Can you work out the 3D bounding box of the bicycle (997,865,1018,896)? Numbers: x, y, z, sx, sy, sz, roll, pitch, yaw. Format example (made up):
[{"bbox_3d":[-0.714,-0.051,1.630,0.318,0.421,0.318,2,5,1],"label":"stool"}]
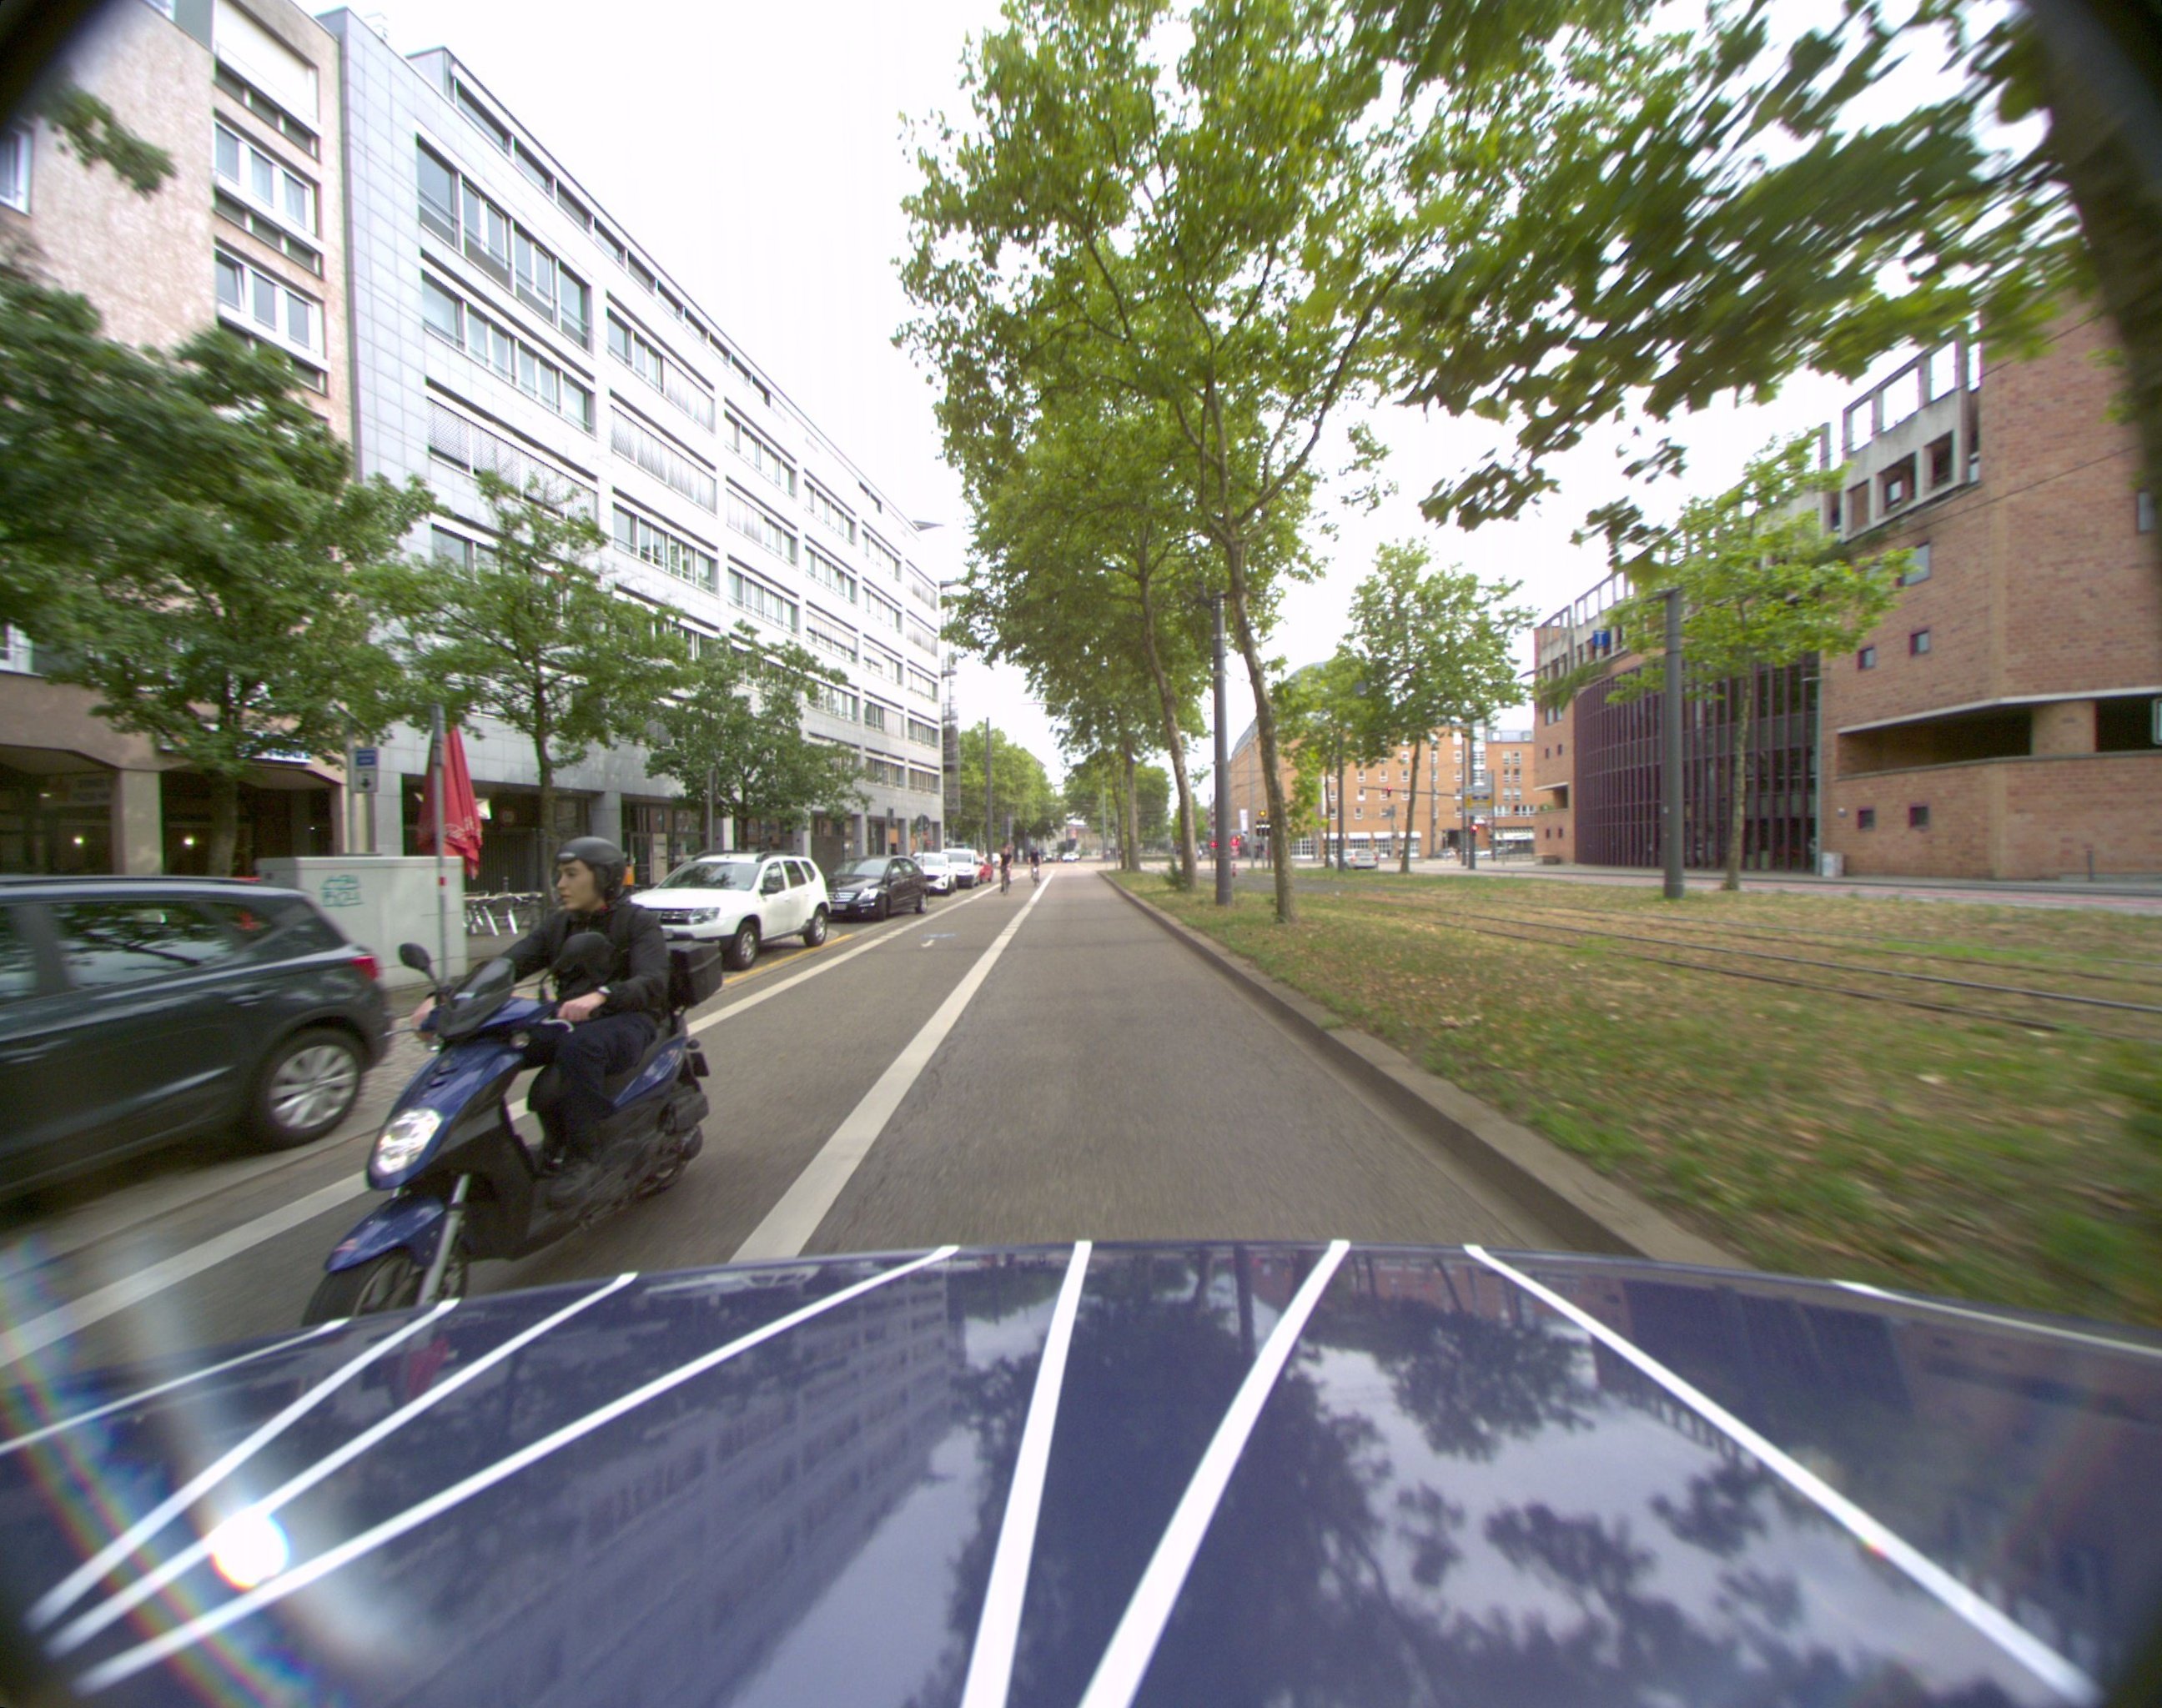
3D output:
[{"bbox_3d":[-2.837,0.999,29.603,0.595,1.132,2.091,0,0,0],"label":"bicycle"}]

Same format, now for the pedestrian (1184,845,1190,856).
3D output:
[{"bbox_3d":[16.056,-0.539,115.185,0.684,1.696,0.534,-1,2,-9],"label":"pedestrian"}]

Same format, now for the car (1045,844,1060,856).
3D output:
[{"bbox_3d":[-4.966,-0.743,132.728,1.998,2.002,5.438,0,0,5],"label":"car"}]

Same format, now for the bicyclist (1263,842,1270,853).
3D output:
[{"bbox_3d":[27.238,-0.959,111.483,0.864,1.493,0.637,0,2,10],"label":"bicyclist"}]

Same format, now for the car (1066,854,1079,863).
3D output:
[{"bbox_3d":[-1.358,0.757,124.544,1.845,1.369,3.835,-1,-1,4],"label":"car"}]

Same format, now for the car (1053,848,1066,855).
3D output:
[{"bbox_3d":[-4.162,-0.409,146.340,1.997,1.270,4.001,-1,1,7],"label":"car"}]

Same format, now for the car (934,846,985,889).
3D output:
[{"bbox_3d":[-5.627,0.569,35.614,1.832,1.853,4.646,1,0,-3],"label":"car"}]

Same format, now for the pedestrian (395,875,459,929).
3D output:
[{"bbox_3d":[-14.593,1.055,16.962,0.822,1.150,0.699,-1,1,11],"label":"pedestrian"}]

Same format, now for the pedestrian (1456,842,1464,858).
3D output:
[{"bbox_3d":[41.121,-0.473,82.390,0.540,1.722,0.543,-1,1,-2],"label":"pedestrian"}]

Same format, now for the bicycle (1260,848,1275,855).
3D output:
[{"bbox_3d":[27.333,-0.416,111.482,2.057,1.002,0.640,0,1,11],"label":"bicycle"}]

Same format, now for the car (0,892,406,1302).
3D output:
[{"bbox_3d":[-5.135,1.014,2.740,1.719,1.510,4.203,1,0,-1],"label":"car"}]

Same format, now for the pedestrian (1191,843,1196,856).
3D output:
[{"bbox_3d":[16.723,-0.681,112.761,0.693,1.941,0.534,-1,2,-2],"label":"pedestrian"}]

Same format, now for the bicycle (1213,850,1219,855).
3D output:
[{"bbox_3d":[25.793,-0.343,145.143,0.659,0.931,1.892,-1,1,-5],"label":"bicycle"}]

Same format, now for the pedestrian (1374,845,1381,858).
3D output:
[{"bbox_3d":[41.326,-0.323,105.904,0.578,1.722,0.750,-1,2,-7],"label":"pedestrian"}]

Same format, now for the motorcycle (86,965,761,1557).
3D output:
[{"bbox_3d":[-2.086,1.173,2.993,0.769,1.101,2.207,-1,1,-2],"label":"motorcycle"}]

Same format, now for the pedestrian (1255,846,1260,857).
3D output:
[{"bbox_3d":[26.262,-0.359,112.938,0.563,1.696,0.534,-1,2,0],"label":"pedestrian"}]

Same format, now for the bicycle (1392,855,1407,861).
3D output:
[{"bbox_3d":[44.314,0.520,105.786,1.796,0.777,0.640,-1,1,-3],"label":"bicycle"}]

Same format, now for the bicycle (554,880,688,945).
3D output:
[{"bbox_3d":[-8.314,1.046,13.786,2.040,1.118,0.596,0,1,-1],"label":"bicycle"}]

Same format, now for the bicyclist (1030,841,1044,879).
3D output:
[{"bbox_3d":[-2.067,0.294,36.017,0.591,1.760,1.035,0,1,0],"label":"bicyclist"}]

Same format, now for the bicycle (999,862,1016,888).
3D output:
[{"bbox_3d":[-3.373,0.965,35.082,0.595,1.132,1.734,0,0,0],"label":"bicycle"}]

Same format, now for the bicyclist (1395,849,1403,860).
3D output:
[{"bbox_3d":[44.295,0.097,105.785,0.865,1.493,0.636,-1,2,-3],"label":"bicyclist"}]

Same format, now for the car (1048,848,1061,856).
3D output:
[{"bbox_3d":[-4.777,-0.369,139.347,1.915,1.533,4.093,0,0,5],"label":"car"}]

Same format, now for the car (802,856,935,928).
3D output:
[{"bbox_3d":[-5.250,0.859,19.402,1.778,1.567,4.306,1,0,6],"label":"car"}]

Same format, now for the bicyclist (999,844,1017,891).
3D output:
[{"bbox_3d":[-2.840,0.515,29.532,0.591,1.758,1.035,0,1,0],"label":"bicyclist"}]

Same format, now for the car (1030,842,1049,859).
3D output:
[{"bbox_3d":[-6.347,-0.597,118.111,2.174,2.441,6.998,-1,1,3],"label":"car"}]

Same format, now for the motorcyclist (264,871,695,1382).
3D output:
[{"bbox_3d":[-2.076,0.843,2.820,0.761,1.510,1.017,-1,1,-2],"label":"motorcyclist"}]

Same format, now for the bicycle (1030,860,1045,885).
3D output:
[{"bbox_3d":[-2.069,0.871,36.044,0.595,1.132,1.858,0,0,0],"label":"bicycle"}]

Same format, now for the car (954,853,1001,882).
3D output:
[{"bbox_3d":[-5.589,0.688,41.451,1.726,1.424,4.254,2,0,4],"label":"car"}]

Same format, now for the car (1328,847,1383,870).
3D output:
[{"bbox_3d":[17.815,0.293,49.517,1.788,1.413,4.657,-1,0,-2],"label":"car"}]

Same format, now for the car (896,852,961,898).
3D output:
[{"bbox_3d":[-5.864,0.756,29.802,2.001,1.593,4.580,2,0,-5],"label":"car"}]

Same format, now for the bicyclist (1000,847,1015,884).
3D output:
[{"bbox_3d":[-3.377,0.515,35.022,0.591,1.644,1.035,0,1,0],"label":"bicyclist"}]

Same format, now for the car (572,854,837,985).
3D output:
[{"bbox_3d":[-5.475,0.834,11.770,1.865,1.644,4.164,0,0,3],"label":"car"}]

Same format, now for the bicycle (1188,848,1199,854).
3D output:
[{"bbox_3d":[16.740,-0.472,113.087,1.711,0.884,0.499,-1,1,3],"label":"bicycle"}]
